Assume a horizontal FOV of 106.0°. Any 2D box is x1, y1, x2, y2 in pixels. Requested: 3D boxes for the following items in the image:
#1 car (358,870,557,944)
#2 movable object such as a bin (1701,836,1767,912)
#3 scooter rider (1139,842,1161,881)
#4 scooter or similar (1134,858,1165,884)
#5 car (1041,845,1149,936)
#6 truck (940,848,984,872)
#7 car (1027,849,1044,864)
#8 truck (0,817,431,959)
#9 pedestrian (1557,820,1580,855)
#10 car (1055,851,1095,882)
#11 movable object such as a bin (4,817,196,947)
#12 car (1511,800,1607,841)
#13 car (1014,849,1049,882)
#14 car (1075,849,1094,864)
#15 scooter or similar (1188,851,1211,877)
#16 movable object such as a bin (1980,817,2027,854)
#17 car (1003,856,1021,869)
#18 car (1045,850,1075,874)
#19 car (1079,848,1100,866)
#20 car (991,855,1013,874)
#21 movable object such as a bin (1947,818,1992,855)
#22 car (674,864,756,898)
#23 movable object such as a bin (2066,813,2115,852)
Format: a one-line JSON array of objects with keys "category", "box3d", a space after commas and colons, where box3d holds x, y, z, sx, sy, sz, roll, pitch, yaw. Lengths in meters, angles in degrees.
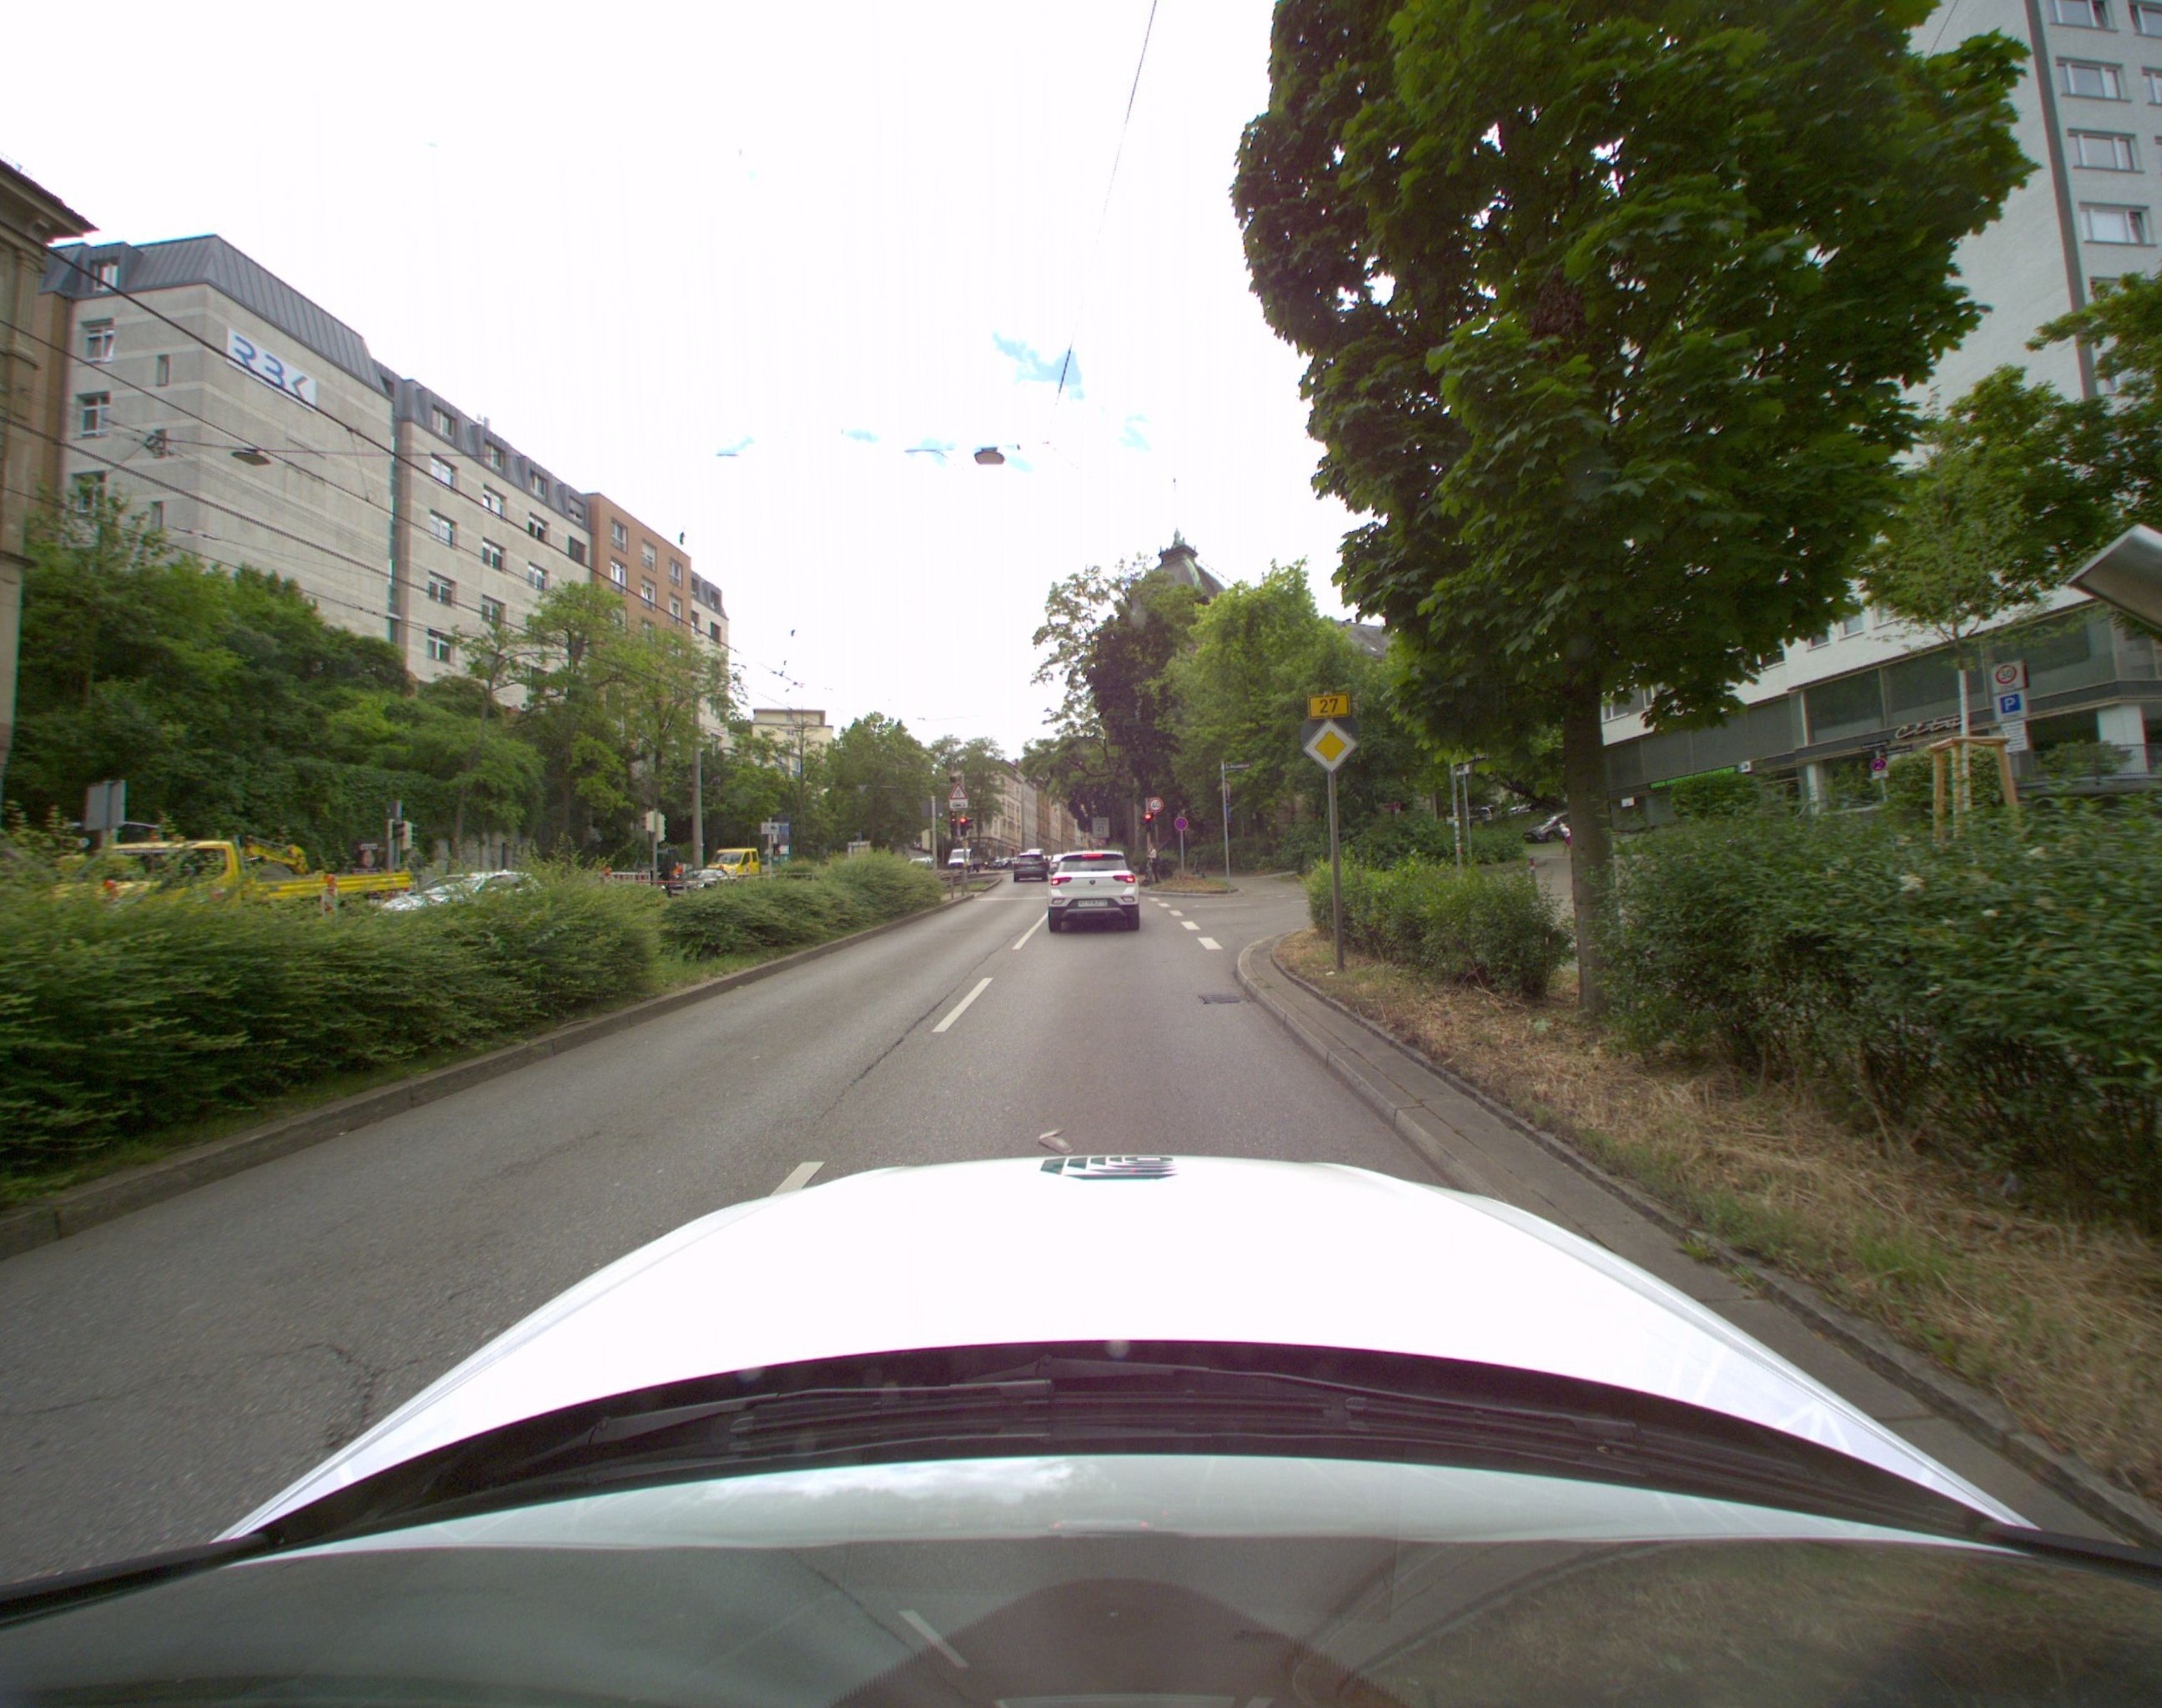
[{"category": "car", "box3d": [-14.970, 1.203, 19.886, 1.735, 1.487, 4.064, -1, 0, -1]}, {"category": "movable object such as a bin", "box3d": [9.779, 0.289, 12.207, 0.492, 1.094, 0.565, -2, 0, 2]}, {"category": "scooter rider", "box3d": [2.811, 0.310, 33.180, 0.775, 1.558, 0.532, -3, 0, -1]}, {"category": "scooter or similar", "box3d": [2.787, 0.707, 33.203, 1.184, 0.994, 0.531, -3, 0, -2]}, {"category": "car", "box3d": [0.236, 0.648, 16.970, 1.932, 1.566, 4.045, -2, 1, -1]}, {"category": "truck", "box3d": [-11.264, 0.491, 77.601, 2.408, 2.169, 6.047, 1, 0, 8]}, {"category": "car", "box3d": [-6.566, 0.361, 118.308, 1.986, 2.013, 4.002, -3, 0, 2]}, {"category": "truck", "box3d": [-18.647, 0.752, 18.037, 2.910, 2.510, 7.145, 0, -3, -2]}, {"category": "pedestrian", "box3d": [21.953, -0.736, 36.680, 0.560, 1.500, 0.672, -2, 0, -24]}, {"category": "car", "box3d": [-0.356, 0.716, 44.402, 1.899, 1.574, 3.827, 1, -2, -5]}, {"category": "movable object such as a bin", "box3d": [-23.059, 0.639, 19.245, 1.990, 2.838, 2.026, -2, -1, -4]}, {"category": "car", "box3d": [26.406, -1.841, 45.074, 4.124, 2.013, 1.996, -2, 0, -6]}, {"category": "car", "box3d": [-2.857, 0.628, 47.453, 1.835, 1.739, 3.997, -2, 1, -2]}, {"category": "car", "box3d": [0.552, 0.391, 124.244, 2.412, 2.169, 6.038, -3, 0, 3]}, {"category": "scooter or similar", "box3d": [5.205, 0.468, 35.922, 0.474, 1.100, 1.362, -3, -1, -14]}, {"category": "movable object such as a bin", "box3d": [28.523, -0.569, 25.186, 0.825, 1.103, 0.709, -2, 0, -22]}, {"category": "car", "box3d": [-9.591, 1.172, 113.320, 1.986, 1.623, 4.001, 1, -2, 2]}, {"category": "car", "box3d": [-1.507, 0.565, 60.375, 1.987, 1.623, 4.000, -3, 0, 0]}, {"category": "car", "box3d": [1.132, 0.383, 103.885, 2.412, 2.169, 6.038, -3, 0, 3]}, {"category": "car", "box3d": [-9.100, 1.203, 94.224, 1.986, 2.014, 4.001, 1, -2, 2]}, {"category": "movable object such as a bin", "box3d": [28.164, -0.556, 25.817, 0.825, 1.103, 0.709, -2, 0, -22]}, {"category": "car", "box3d": [-15.865, 1.149, 35.520, 1.734, 1.322, 4.065, -1, -1, 0]}, {"category": "movable object such as a bin", "box3d": [29.570, -0.621, 23.855, 0.825, 1.103, 0.676, -2, 0, -22]}]
